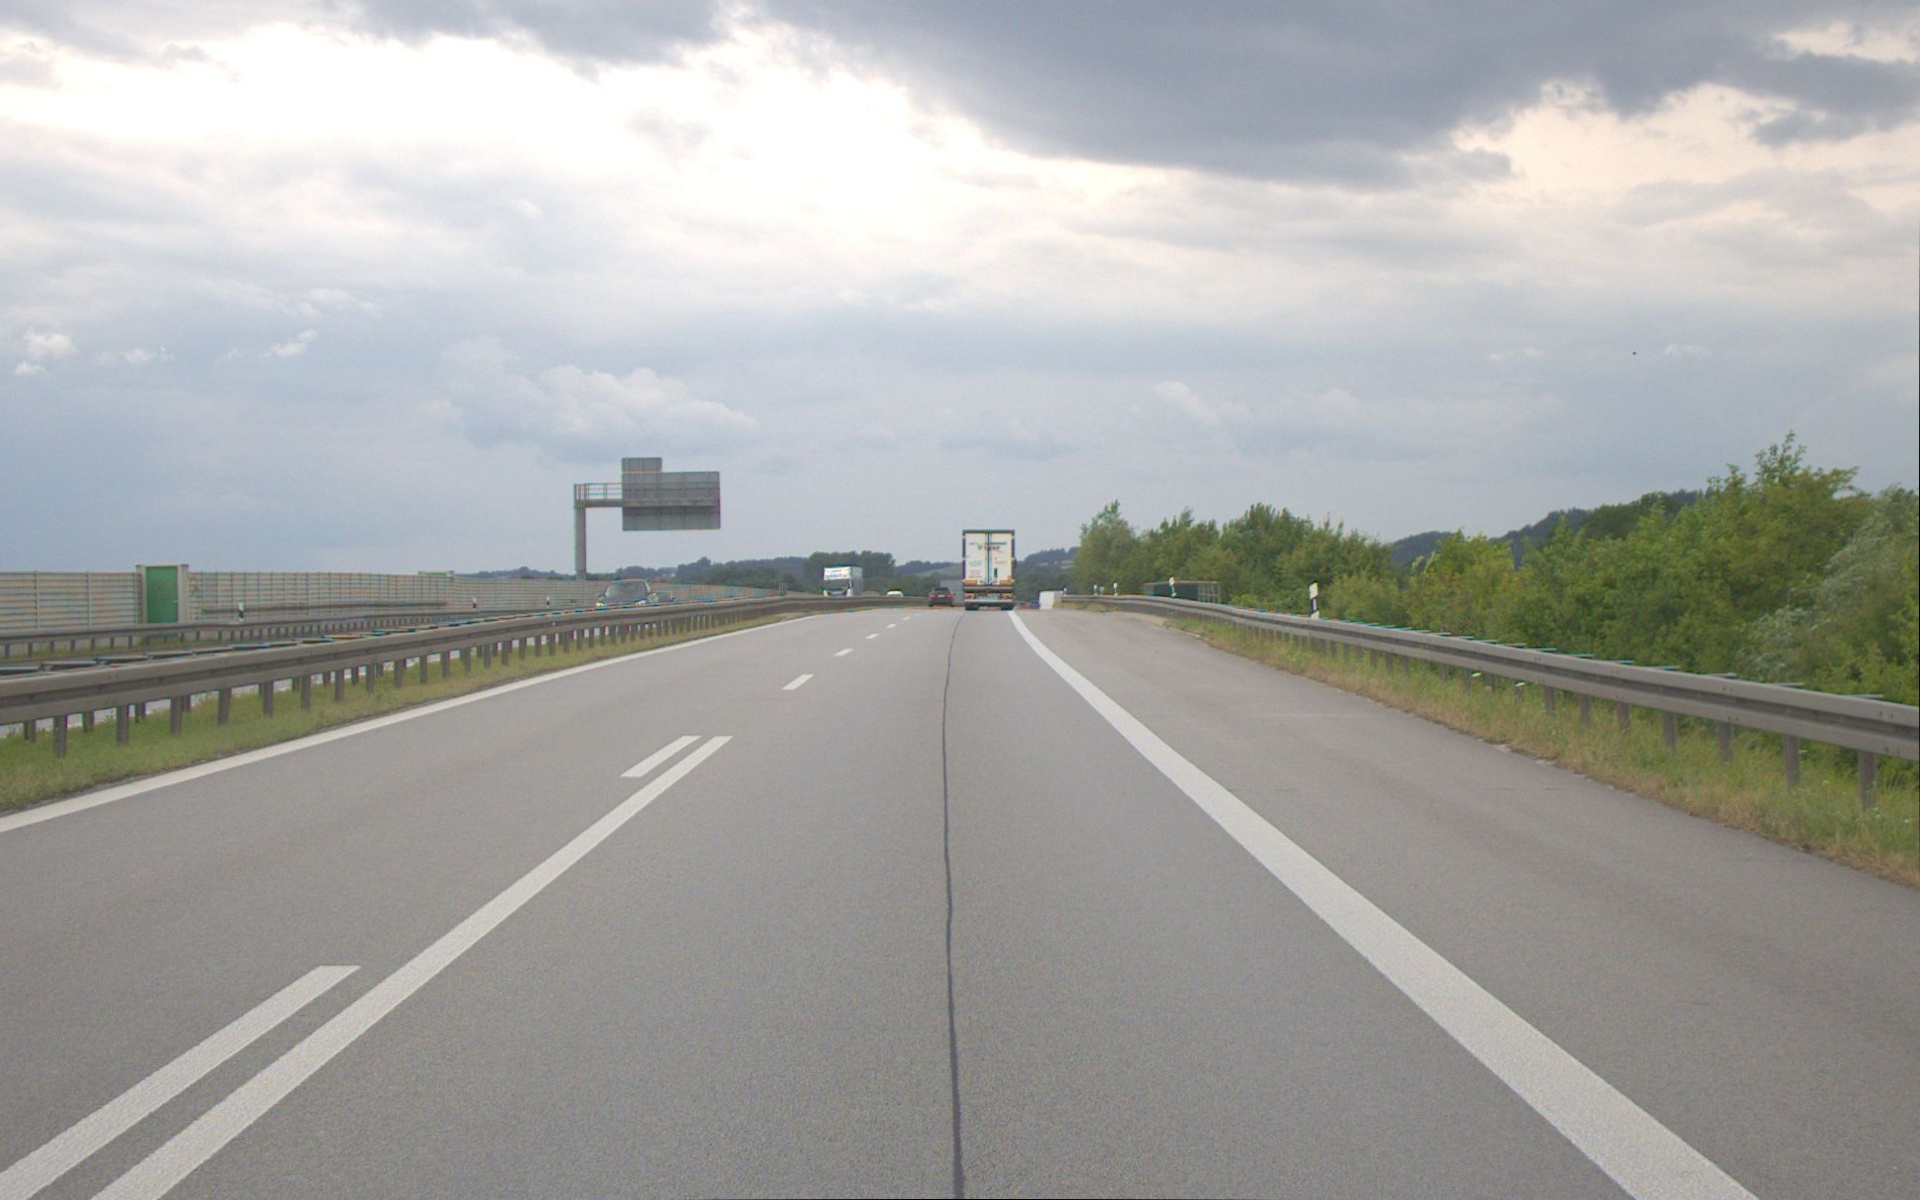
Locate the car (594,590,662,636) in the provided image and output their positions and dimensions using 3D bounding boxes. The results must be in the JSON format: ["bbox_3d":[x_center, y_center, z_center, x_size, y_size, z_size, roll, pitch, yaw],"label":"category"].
[{"bbox_3d":[-11.114,0.422,115.240,1.787,1.446,5.173,0,1,0],"label":"car"}]

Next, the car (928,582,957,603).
[{"bbox_3d":[-1.258,-0.550,249.353,1.993,1.415,4.000,1,1,-2],"label":"car"}]

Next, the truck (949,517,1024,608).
[{"bbox_3d":[1.465,-1.856,179.461,3.672,4.397,16.339,-1,-1,1],"label":"truck"}]
